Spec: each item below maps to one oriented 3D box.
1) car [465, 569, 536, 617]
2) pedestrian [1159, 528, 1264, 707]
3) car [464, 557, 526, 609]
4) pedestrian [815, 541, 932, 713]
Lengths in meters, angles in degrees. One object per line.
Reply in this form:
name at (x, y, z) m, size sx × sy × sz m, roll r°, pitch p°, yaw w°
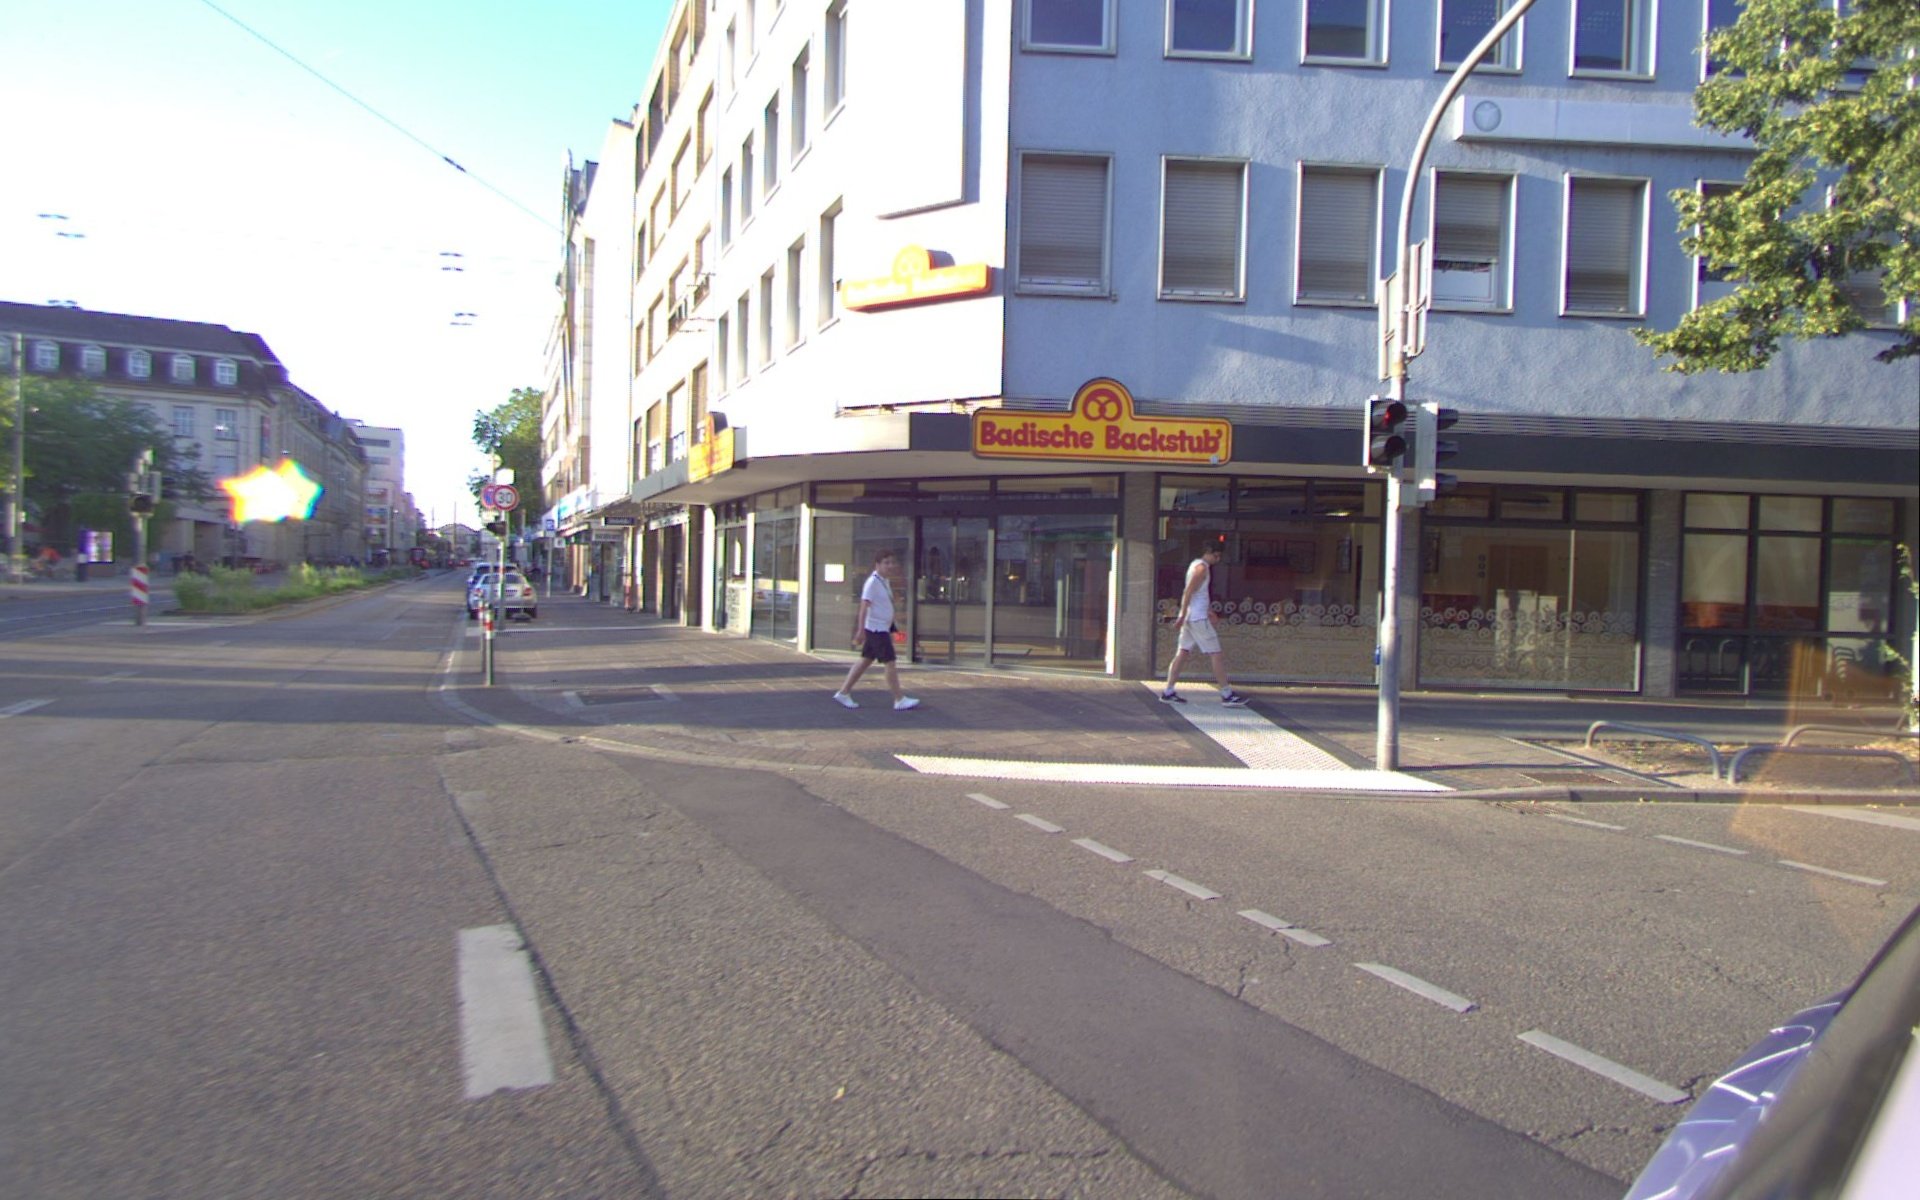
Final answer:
car at (-13.645, -0.259, 30.182) m, size 1.810 × 1.310 × 4.008 m, roll 0°, pitch 2°, yaw -23°
pedestrian at (2.831, 0.163, 11.367) m, size 0.984 × 1.909 × 0.799 m, roll 1°, pitch 3°, yaw 26°
car at (-15.744, -0.592, 34.415) m, size 1.810 × 1.655 × 4.008 m, roll 0°, pitch 2°, yaw -23°
pedestrian at (-0.921, 0.250, 10.851) m, size 0.984 × 1.746 × 0.799 m, roll 1°, pitch 3°, yaw 26°
